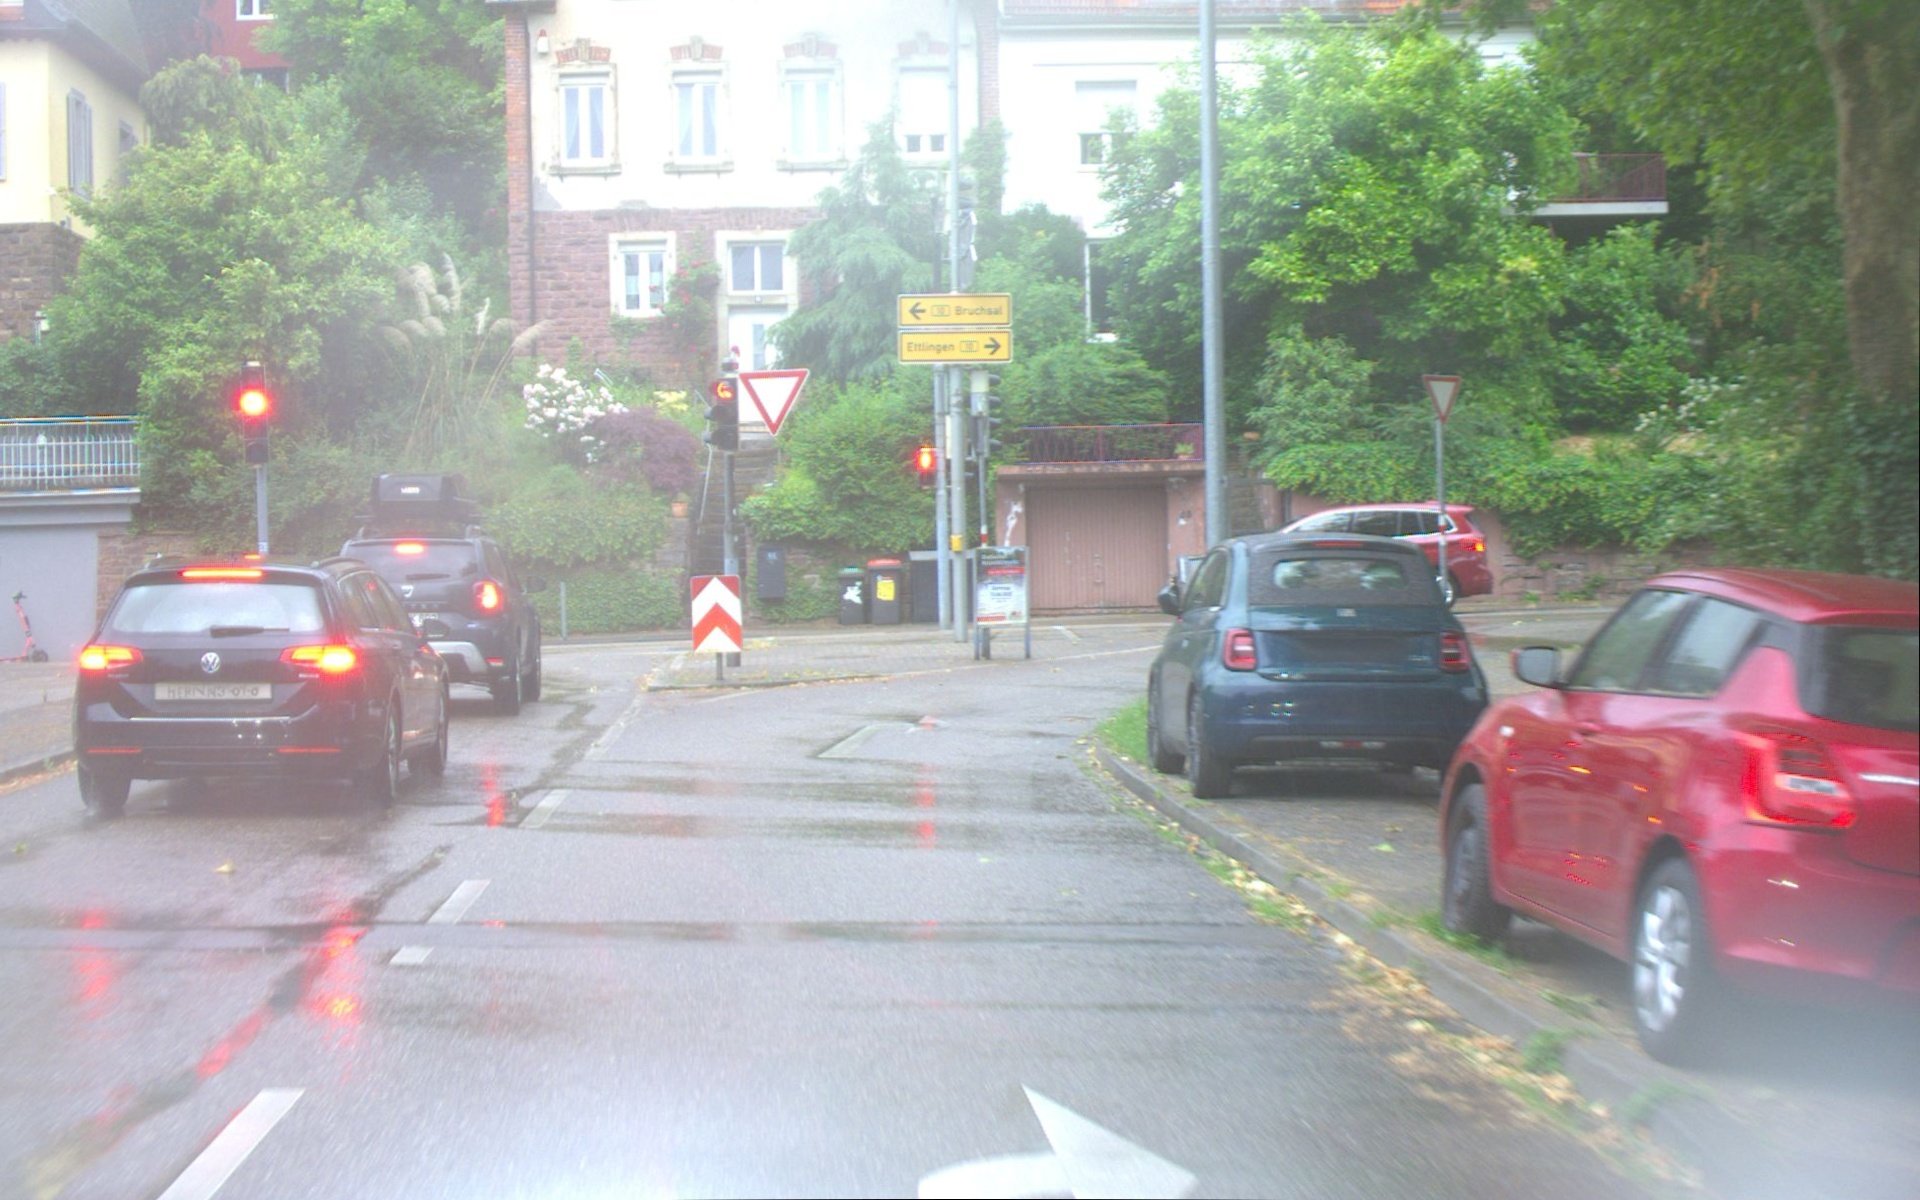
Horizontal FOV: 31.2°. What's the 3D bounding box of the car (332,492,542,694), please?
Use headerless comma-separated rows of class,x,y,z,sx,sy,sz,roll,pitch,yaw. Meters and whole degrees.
car,-4.800,-0.135,31.536,1.760,1.705,4.602,0,2,-9

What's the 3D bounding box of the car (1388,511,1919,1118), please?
car,2.761,0.595,11.258,1.819,1.512,3.744,6,2,-5

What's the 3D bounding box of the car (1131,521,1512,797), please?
car,2.087,0.298,20.780,1.749,1.486,3.600,1,1,-2

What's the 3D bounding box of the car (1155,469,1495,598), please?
car,5.155,-0.934,48.984,4.568,1.595,1.775,-3,0,-1

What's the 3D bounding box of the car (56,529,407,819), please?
car,-4.317,0.359,20.795,1.831,1.451,4.660,1,2,-10
